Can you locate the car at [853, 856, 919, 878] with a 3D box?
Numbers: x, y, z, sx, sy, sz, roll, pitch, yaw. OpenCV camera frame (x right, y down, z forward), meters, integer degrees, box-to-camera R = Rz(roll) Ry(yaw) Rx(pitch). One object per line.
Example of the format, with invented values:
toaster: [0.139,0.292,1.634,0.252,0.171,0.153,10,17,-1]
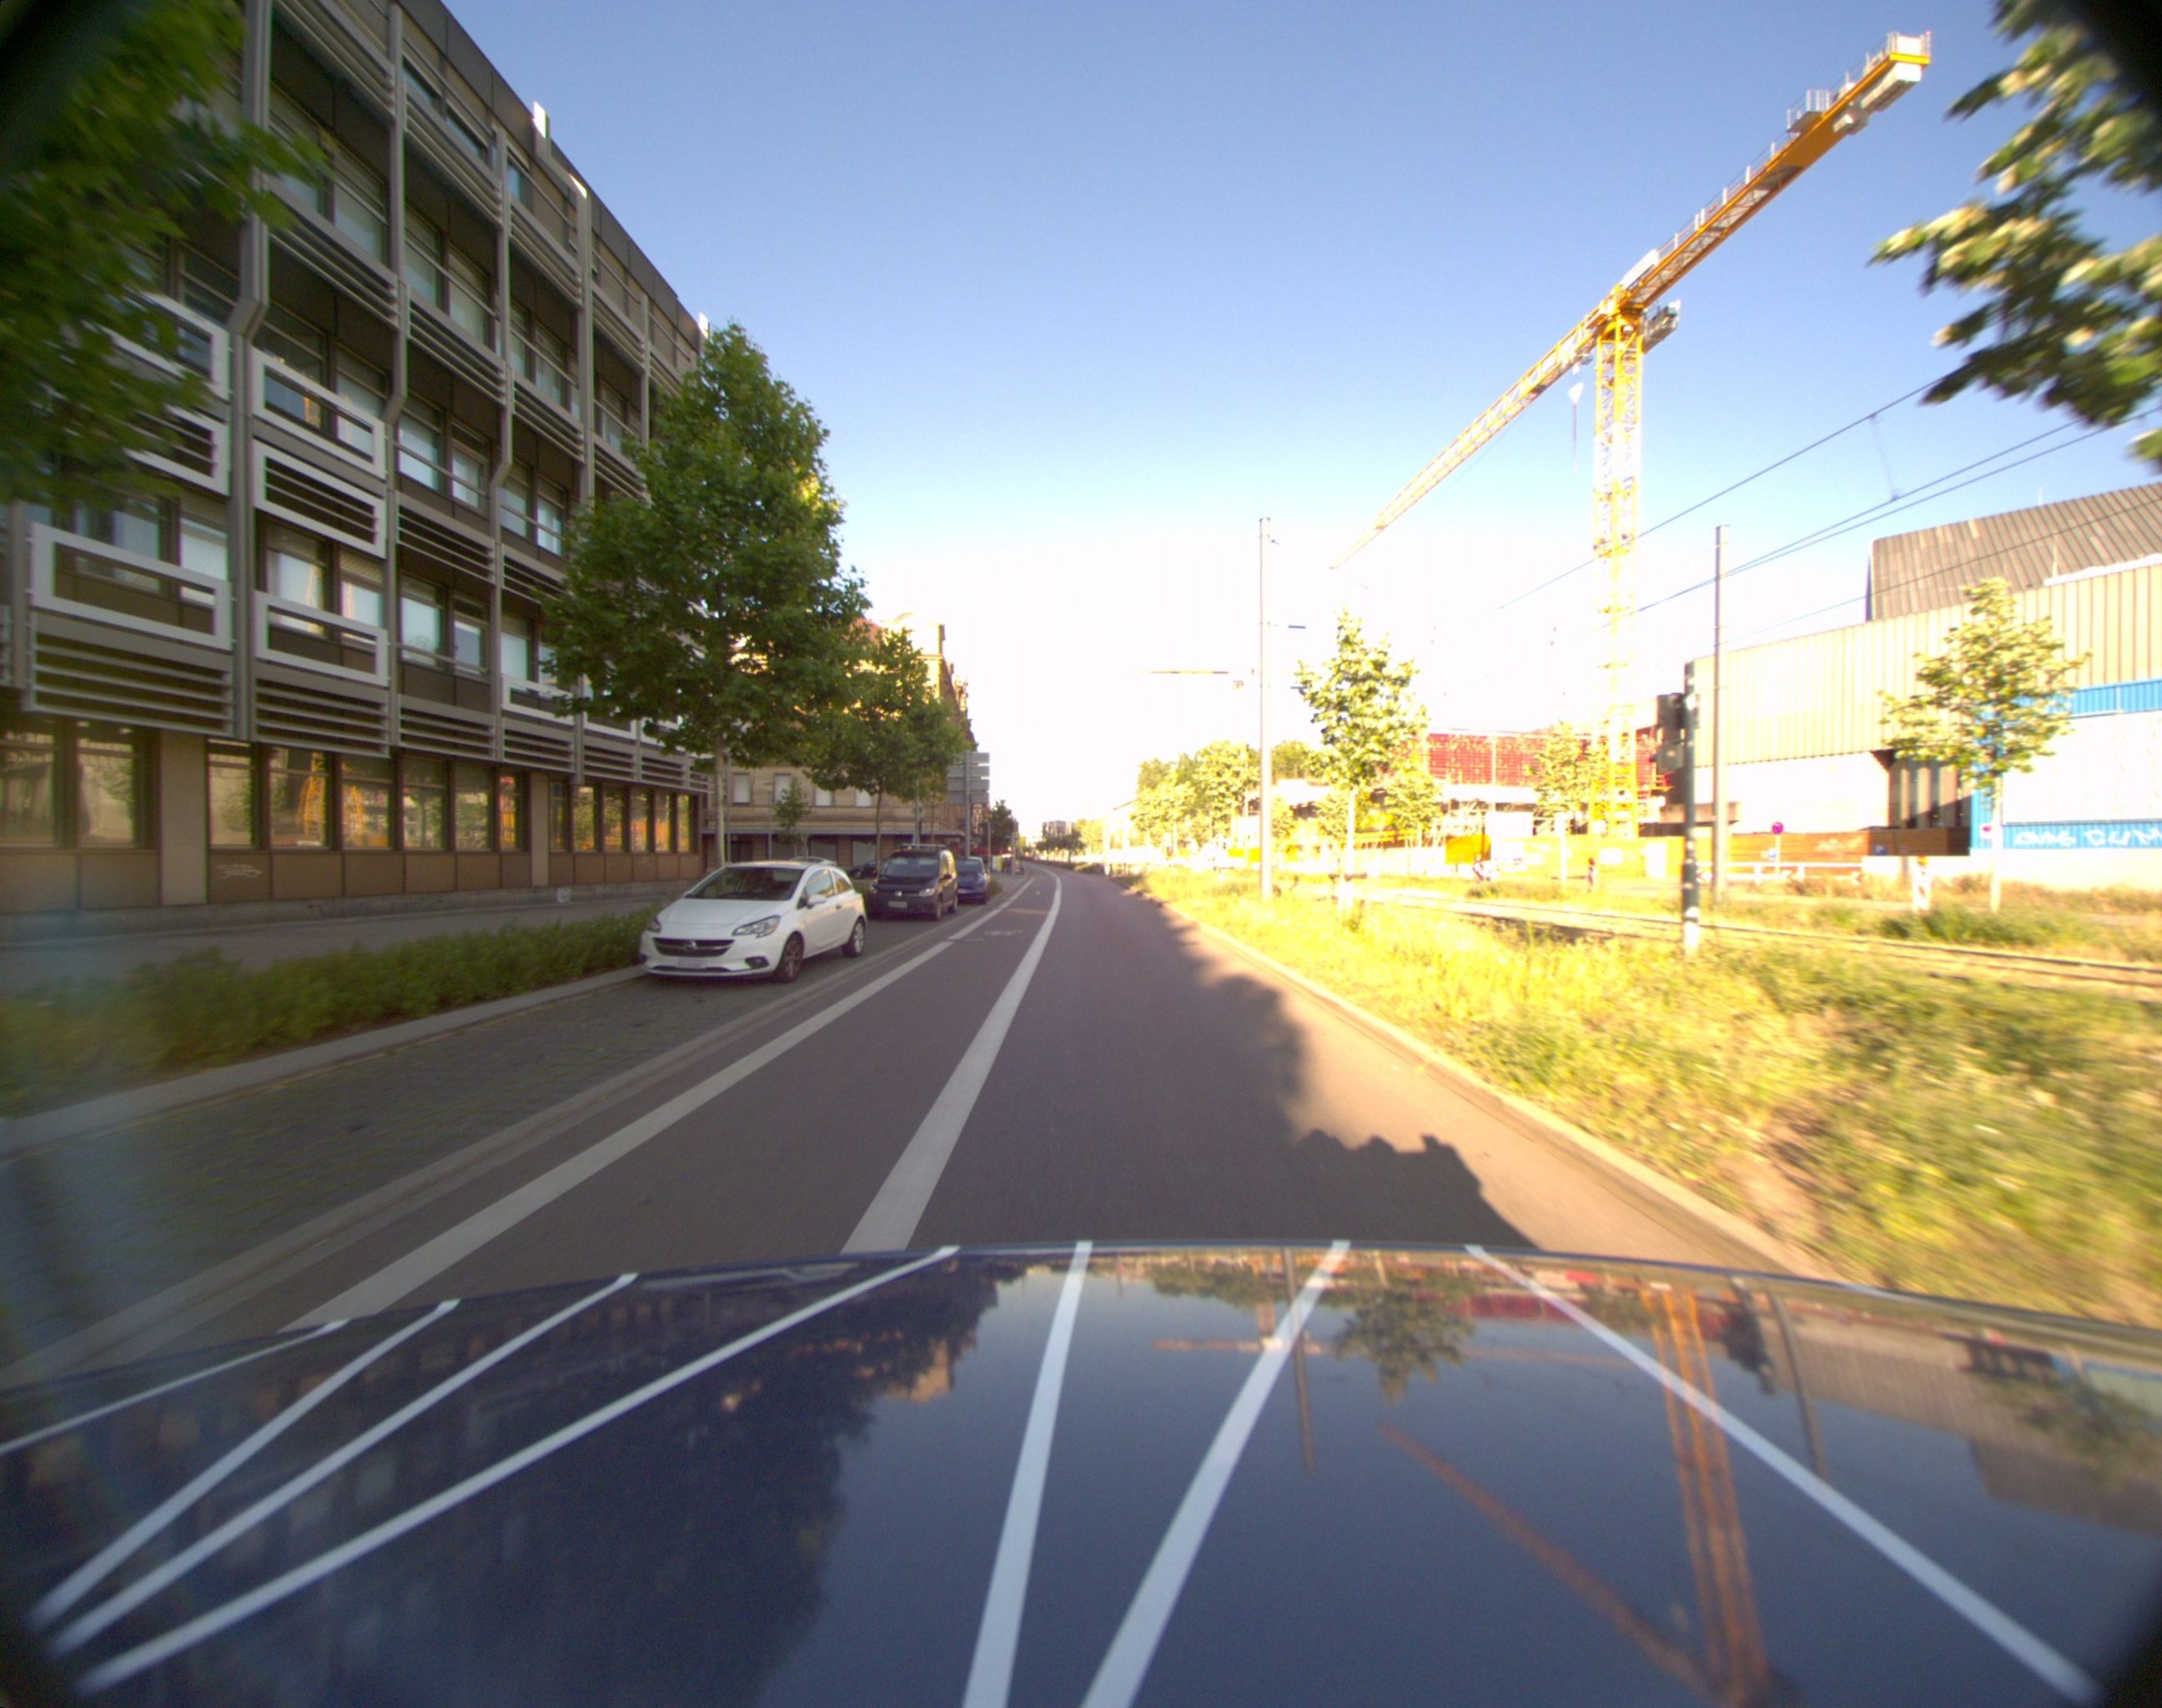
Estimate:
car: [-13.399,0.881,52.404,4.276,1.441,1.861,-1,1,-10]

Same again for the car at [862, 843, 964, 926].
car: [-4.310,0.737,20.133,1.739,1.908,4.393,2,0,-1]

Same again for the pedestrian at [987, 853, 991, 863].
pedestrian: [-16.497,0.757,136.108,0.749,1.744,1.071,1,0,-5]

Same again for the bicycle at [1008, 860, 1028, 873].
bicycle: [-5.739,1.105,68.935,1.758,1.098,0.507,2,0,0]

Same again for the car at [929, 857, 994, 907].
car: [-4.189,0.936,27.272,1.937,1.589,4.697,2,0,-5]

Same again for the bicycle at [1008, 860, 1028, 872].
bicycle: [-6.133,1.151,73.887,1.849,1.098,0.566,2,0,0]

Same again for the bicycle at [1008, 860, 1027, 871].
bicycle: [-6.298,1.169,75.390,1.809,1.041,0.566,2,0,0]

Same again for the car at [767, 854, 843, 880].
car: [-18.615,0.865,51.462,4.555,1.586,1.861,-1,1,-10]

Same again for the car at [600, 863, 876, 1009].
car: [-4.261,0.907,10.268,1.667,1.481,4.204,2,0,2]

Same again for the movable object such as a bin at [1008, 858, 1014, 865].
movable object such as a bin: [-9.755,1.045,106.318,0.676,0.919,0.561,3,1,15]

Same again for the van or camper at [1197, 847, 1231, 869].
van or camper: [16.041,0.475,92.231,2.228,2.495,7.197,2,-1,-5]

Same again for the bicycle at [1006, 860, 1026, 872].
bicycle: [-6.040,1.127,70.790,1.726,1.098,0.507,2,0,0]
